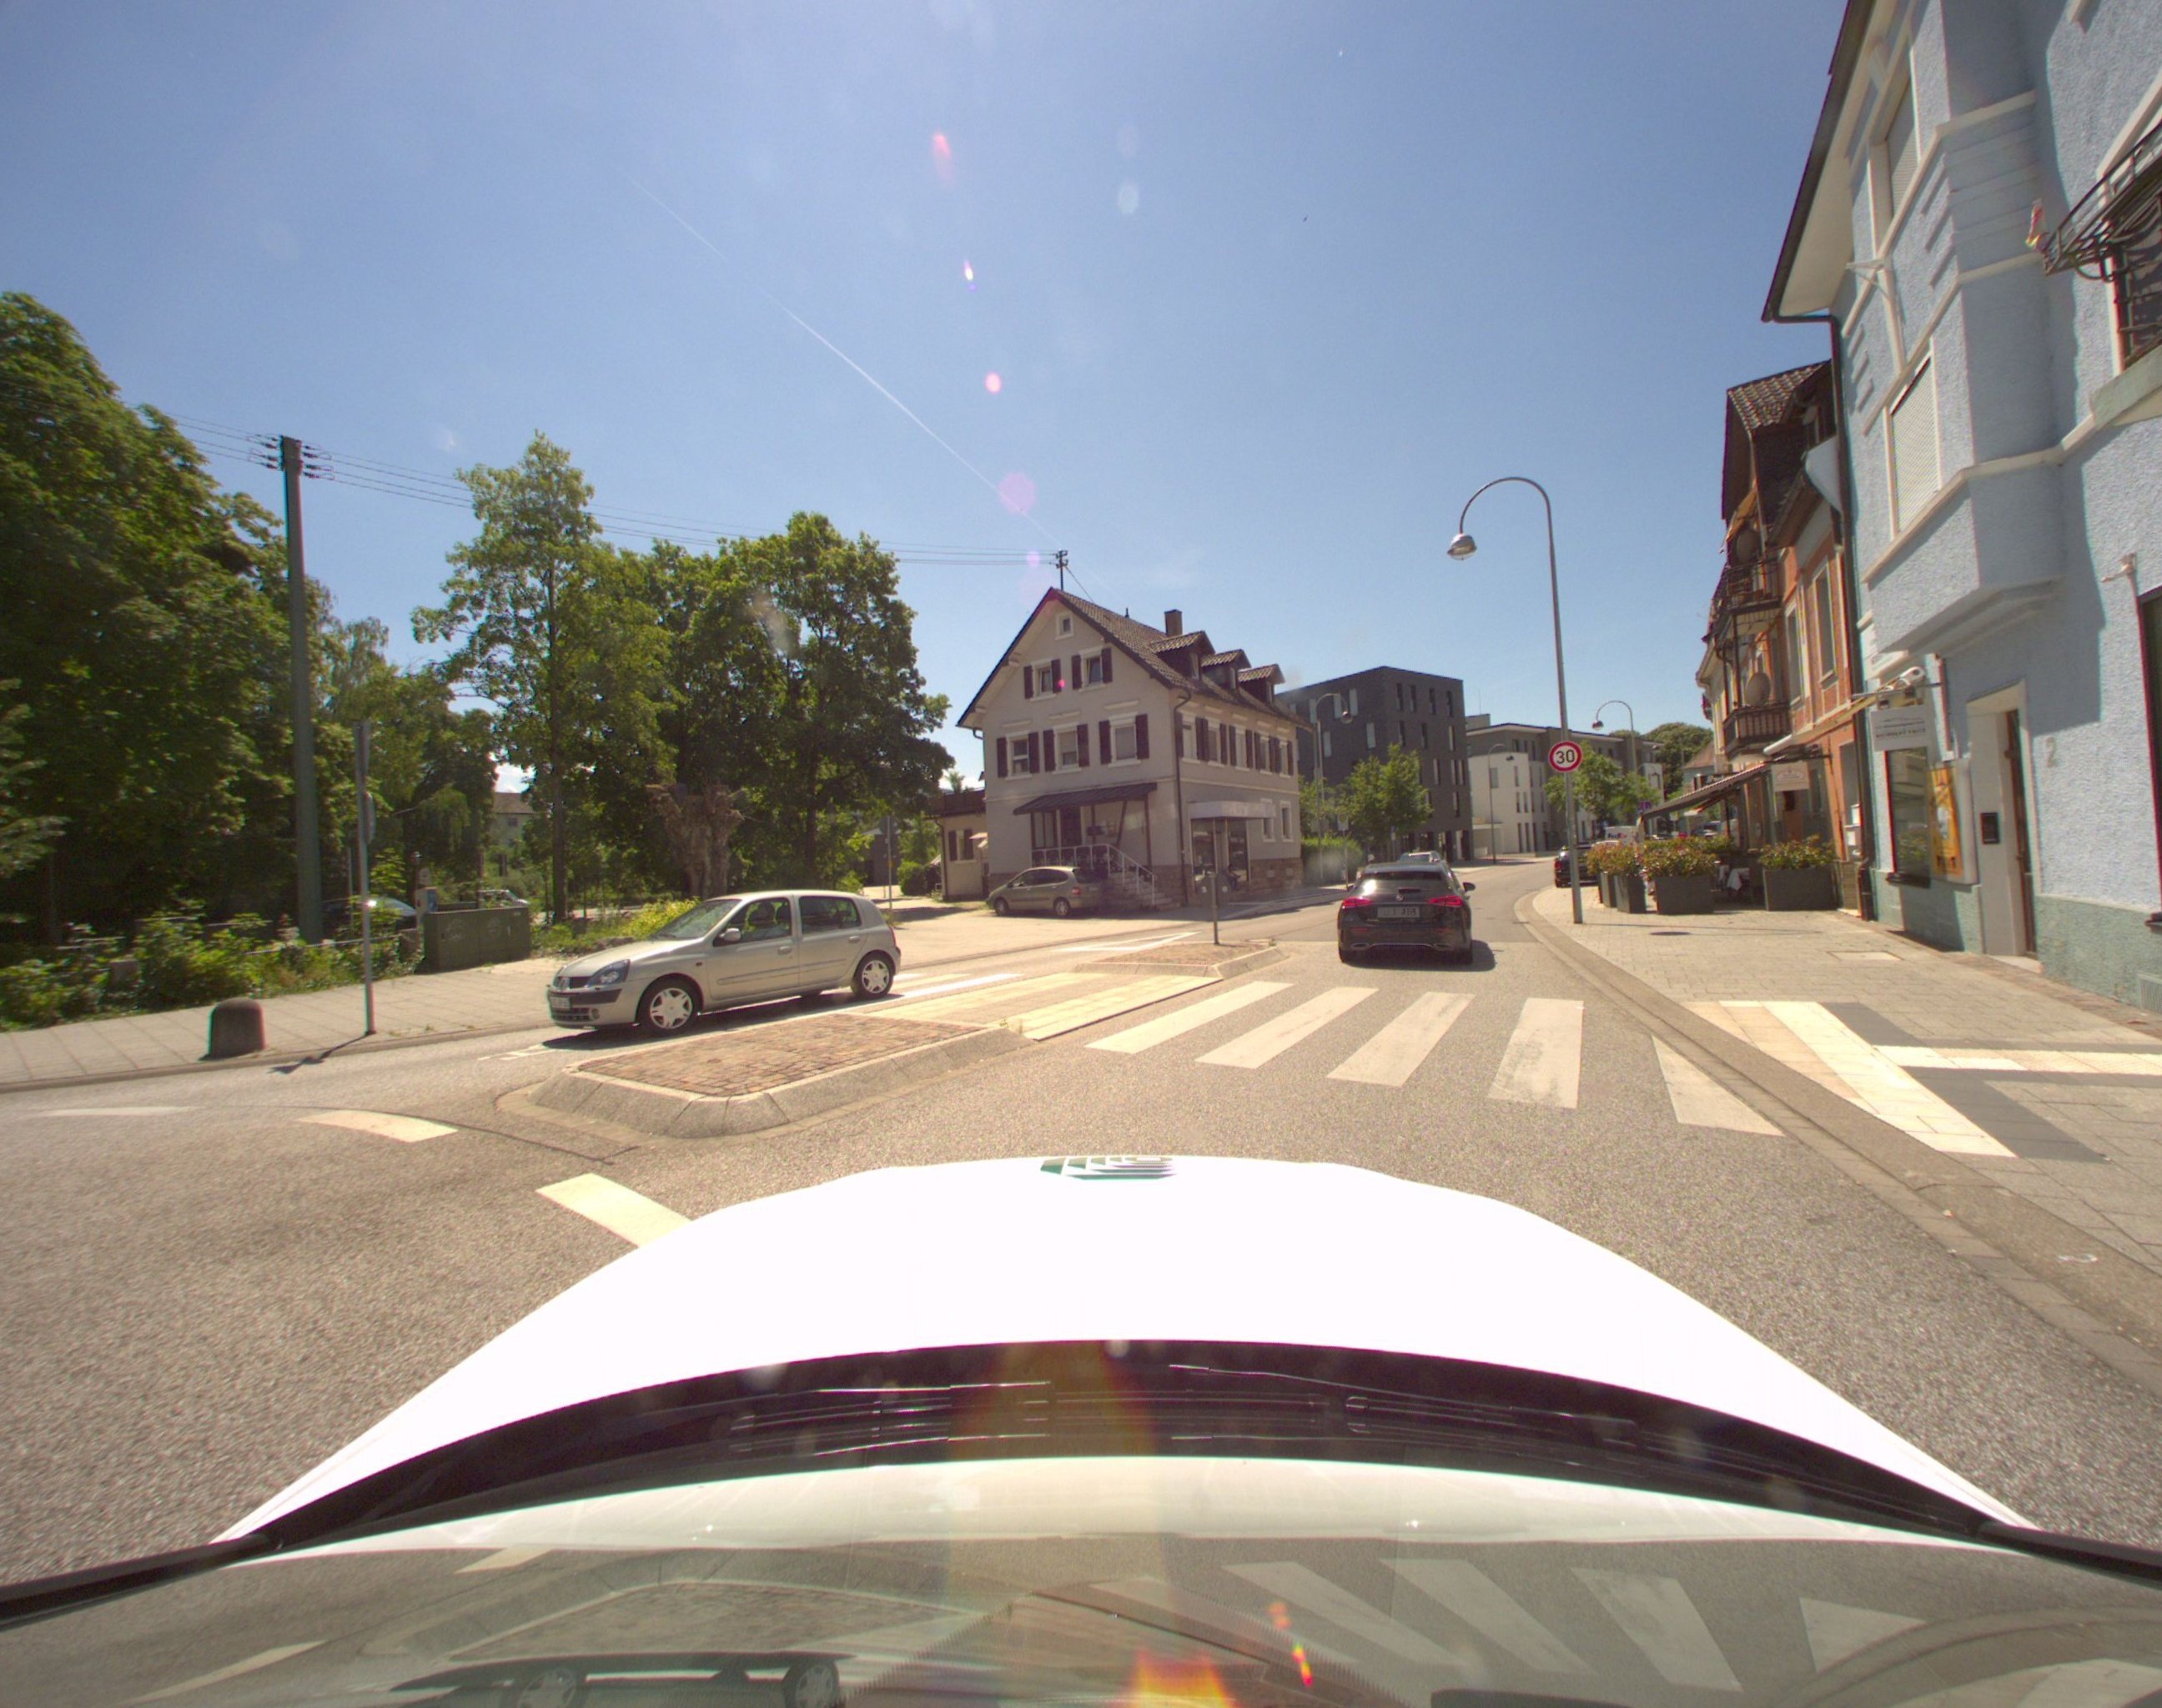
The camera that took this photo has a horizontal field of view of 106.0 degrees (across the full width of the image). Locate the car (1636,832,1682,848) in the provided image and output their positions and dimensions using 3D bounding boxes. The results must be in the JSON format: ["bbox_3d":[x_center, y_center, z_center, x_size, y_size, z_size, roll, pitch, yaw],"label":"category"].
[{"bbox_3d":[68.666,-1.615,96.834,2.008,1.662,3.957,-2,-1,-35],"label":"car"}]

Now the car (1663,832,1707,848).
[{"bbox_3d":[74.713,-1.730,100.785,2.008,1.662,3.957,-2,-1,-35],"label":"car"}]

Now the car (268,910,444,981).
[{"bbox_3d":[-24.666,3.076,27.845,3.984,2.014,1.995,-3,-1,-7],"label":"car"}]

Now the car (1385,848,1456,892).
[{"bbox_3d":[14.250,0.637,34.084,1.658,1.543,4.110,-6,-3,37],"label":"car"}]

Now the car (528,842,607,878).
[{"bbox_3d":[-31.704,0.383,50.418,4.014,2.013,1.980,-3,0,-31],"label":"car"}]

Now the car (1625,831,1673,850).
[{"bbox_3d":[65.330,-1.551,93.703,2.008,2.014,3.958,-2,-1,-33],"label":"car"}]

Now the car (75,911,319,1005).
[{"bbox_3d":[-18.628,2.138,17.324,1.615,1.552,3.075,-3,0,20],"label":"car"}]

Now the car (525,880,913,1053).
[{"bbox_3d":[-3.955,1.148,9.422,1.529,1.412,3.742,-7,-3,38],"label":"car"}]

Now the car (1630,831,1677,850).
[{"bbox_3d":[67.035,-1.553,95.466,2.008,2.014,3.958,-2,-1,-33],"label":"car"}]

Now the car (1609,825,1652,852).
[{"bbox_3d":[43.325,-1.254,64.209,4.024,2.014,1.975,-2,-1,-45],"label":"car"}]

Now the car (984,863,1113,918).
[{"bbox_3d":[-1.103,1.219,26.887,3.948,1.640,1.769,-3,-1,36],"label":"car"}]

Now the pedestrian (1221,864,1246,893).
[{"bbox_3d":[5.747,0.929,30.681,0.663,1.054,0.704,-3,-1,31],"label":"pedestrian"}]

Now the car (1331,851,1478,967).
[{"bbox_3d":[5.217,0.740,12.884,1.747,1.457,4.464,-3,-1,25],"label":"car"}]

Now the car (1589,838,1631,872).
[{"bbox_3d":[26.442,0.023,40.667,1.590,1.530,3.514,-6,-2,34],"label":"car"}]

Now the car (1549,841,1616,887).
[{"bbox_3d":[18.484,0.339,29.927,1.733,1.486,4.026,-4,-1,36],"label":"car"}]

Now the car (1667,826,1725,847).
[{"bbox_3d":[82.774,-2.343,109.746,2.525,2.579,5.601,-2,-1,-33],"label":"car"}]
